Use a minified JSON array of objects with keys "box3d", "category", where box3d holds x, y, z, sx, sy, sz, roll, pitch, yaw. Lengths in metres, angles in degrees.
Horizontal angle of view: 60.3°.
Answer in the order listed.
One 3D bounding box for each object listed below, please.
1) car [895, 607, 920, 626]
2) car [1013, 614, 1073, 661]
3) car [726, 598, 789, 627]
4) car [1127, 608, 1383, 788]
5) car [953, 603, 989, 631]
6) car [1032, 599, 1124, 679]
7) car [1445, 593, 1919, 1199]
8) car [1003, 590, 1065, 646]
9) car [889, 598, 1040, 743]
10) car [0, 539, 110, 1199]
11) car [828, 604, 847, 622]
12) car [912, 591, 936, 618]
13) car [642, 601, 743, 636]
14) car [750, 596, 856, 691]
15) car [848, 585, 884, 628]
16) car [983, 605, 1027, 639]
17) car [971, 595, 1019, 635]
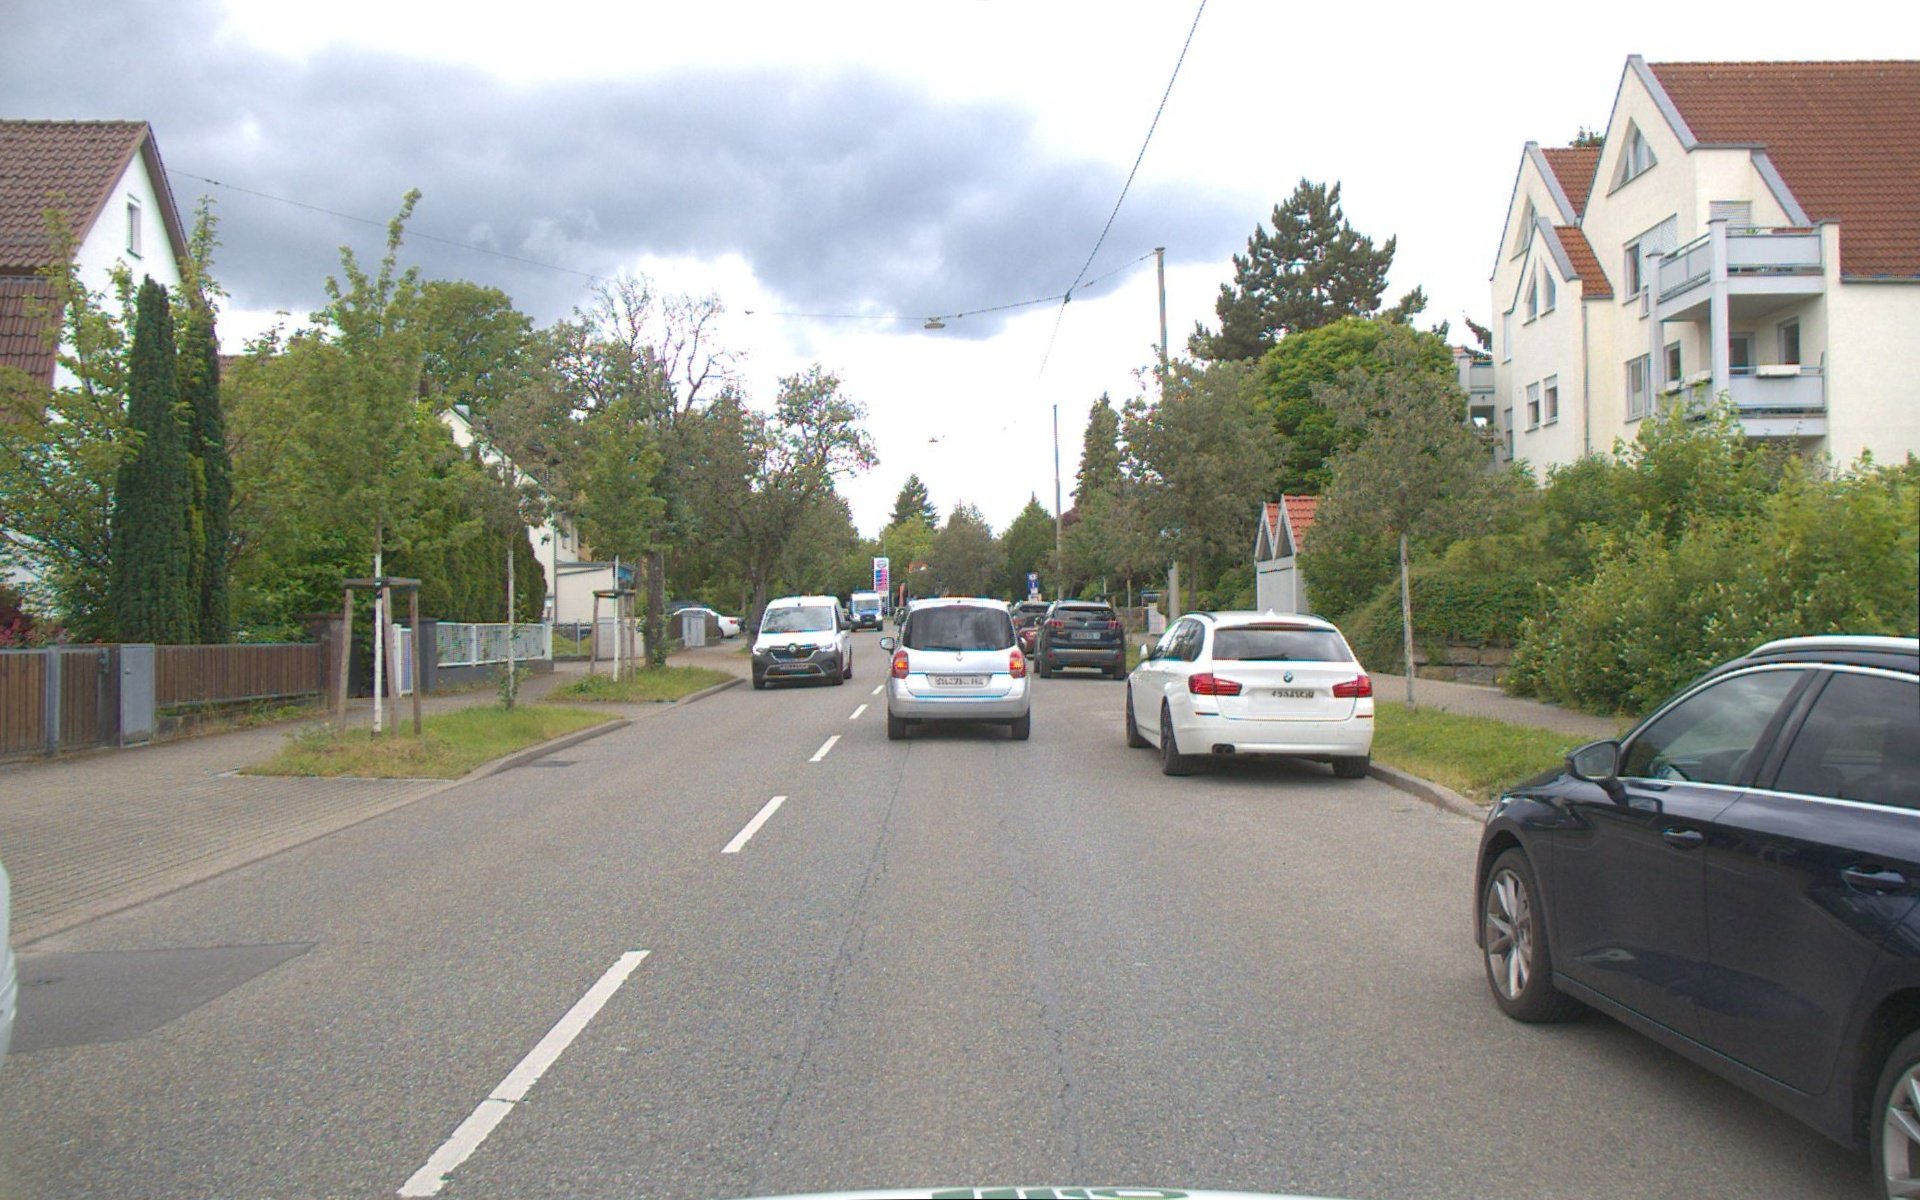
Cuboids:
[{"box3d":[-4.445,1.367,139.554,1.664,1.532,3.964,-1,0,-9],"category":"car"},{"box3d":[2.350,1.061,47.662,1.451,1.257,3.883,1,0,-1],"category":"car"},{"box3d":[-13.310,0.820,108.810,4.007,1.736,1.745,1,-1,-6],"category":"car"},{"box3d":[2.716,0.838,16.158,1.659,1.479,4.403,1,0,-1],"category":"car"},{"box3d":[0.582,0.959,93.403,1.595,1.477,3.871,-1,0,-6],"category":"car"},{"box3d":[2.528,0.824,36.165,1.653,1.637,4.108,1,0,-1],"category":"car"},{"box3d":[2.917,0.761,4.810,1.632,1.542,4.218,0,0,-2],"category":"car"},{"box3d":[2.402,0.581,54.706,1.793,1.742,4.548,-1,0,-1],"category":"car"},{"box3d":[0.049,0.775,19.796,1.645,1.587,3.511,0,0,0],"category":"car"},{"box3d":[-3.057,0.748,2.017,1.777,1.722,4.464,-2,0,-2],"category":"car"},{"box3d":[-12.686,1.311,170.938,1.799,1.743,3.996,-2,0,-5],"category":"car"},{"box3d":[-4.053,0.491,185.328,2.238,2.962,5.271,1,-1,-7],"category":"car"},{"box3d":[-11.483,0.784,71.218,4.198,1.392,1.813,1,-1,-8],"category":"car"},{"box3d":[-3.180,0.839,34.151,1.759,1.782,4.298,-2,0,0],"category":"car"},{"box3d":[-6.091,0.449,107.558,2.032,2.627,5.298,-3,0,-2],"category":"car"},{"box3d":[1.965,0.958,73.235,1.528,1.468,3.503,0,0,-5],"category":"car"},{"box3d":[1.597,0.680,77.757,1.764,1.809,4.700,1,0,-5],"category":"car"}]
